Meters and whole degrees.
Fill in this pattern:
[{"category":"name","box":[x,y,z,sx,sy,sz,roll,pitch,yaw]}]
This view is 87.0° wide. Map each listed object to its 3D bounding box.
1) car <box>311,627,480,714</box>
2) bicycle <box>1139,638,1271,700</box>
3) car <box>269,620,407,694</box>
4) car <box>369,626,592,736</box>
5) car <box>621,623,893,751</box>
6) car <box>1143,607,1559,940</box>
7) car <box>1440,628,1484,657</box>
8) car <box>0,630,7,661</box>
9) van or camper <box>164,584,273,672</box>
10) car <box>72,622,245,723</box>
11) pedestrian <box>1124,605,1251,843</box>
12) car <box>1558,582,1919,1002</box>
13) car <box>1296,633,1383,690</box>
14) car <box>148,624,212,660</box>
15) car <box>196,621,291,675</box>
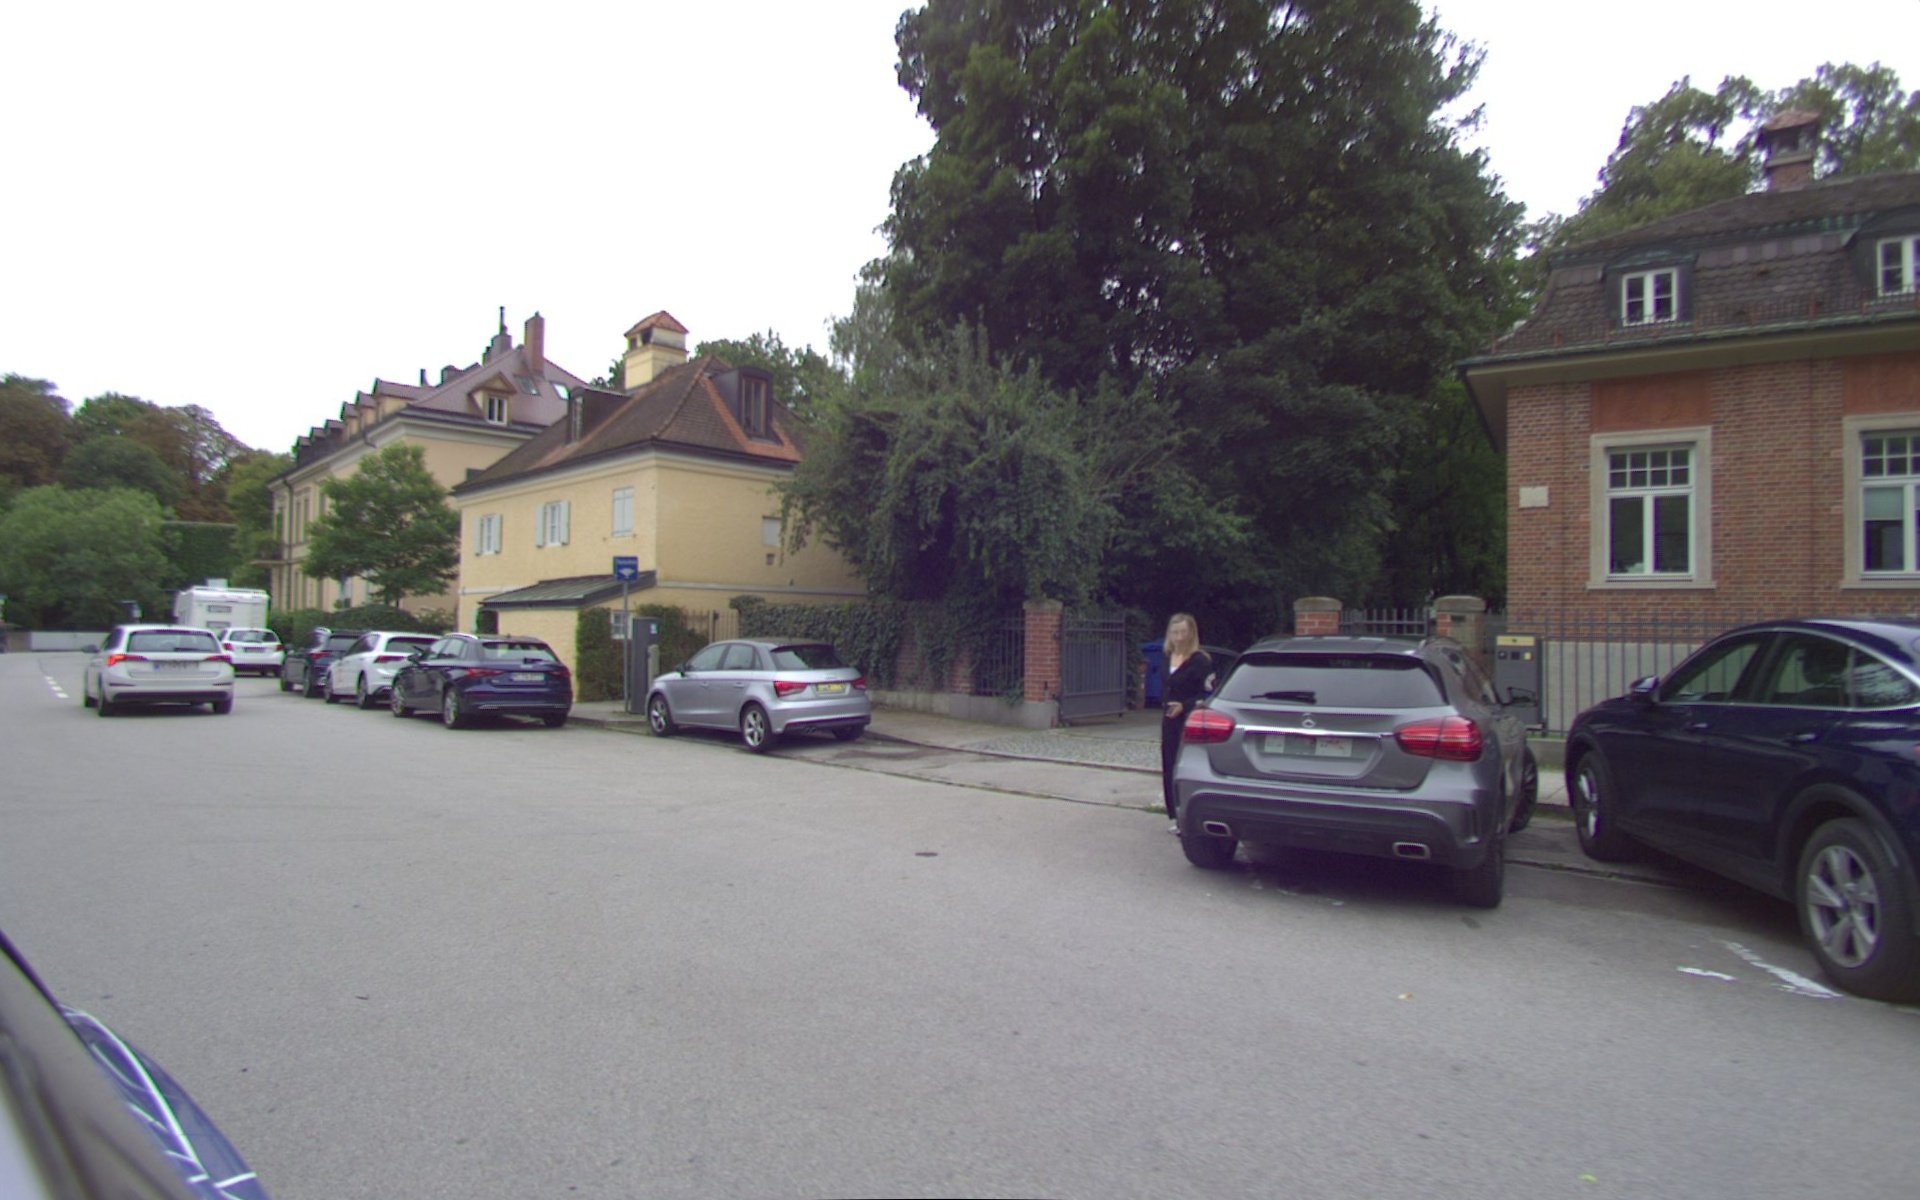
[{"category":"car","box":[-11.370,1.359,20.228,1.823,1.547,4.525,6,-5,-43]},{"category":"bicycle","box":[5.842,1.620,24.293,3.030,1.399,0.688,-1,-2,31]},{"category":"car","box":[-14.668,1.301,23.754,1.823,1.546,4.445,6,-4,-43]},{"category":"car","box":[-7.989,1.255,16.652,1.824,1.547,4.564,6,-5,-45]},{"category":"car","box":[-2.990,1.150,14.363,1.720,1.547,4.151,6,-5,-45]},{"category":"car","box":[3.026,0.896,7.138,1.928,1.541,4.297,1,-2,32]},{"category":"car","box":[25.278,2.131,50.916,1.747,1.399,3.959,-1,-2,30]},{"category":"car","box":[-54.282,2.479,55.468,1.966,1.706,4.347,1,-4,-30]},{"category":"van or camper","box":[-27.830,1.094,37.863,2.425,2.963,7.220,5,-4,-42]},{"category":"car","box":[-13.619,1.137,17.106,4.135,1.486,1.752,-1,-2,44]},{"category":"pedestrian","box":[1.698,0.882,7.551,0.714,1.660,0.584,-1,-4,40]},{"category":"car","box":[4.954,0.834,5.154,1.945,1.606,4.509,1,-3,12]},{"category":"car","box":[11.973,1.861,31.788,1.992,1.630,3.959,-1,-2,30]},{"category":"car","box":[-36.531,1.966,47.349,1.912,1.547,4.536,5,-5,-42]},{"category":"car","box":[-22.556,1.483,31.797,1.757,1.547,4.231,6,-5,-43]}]
